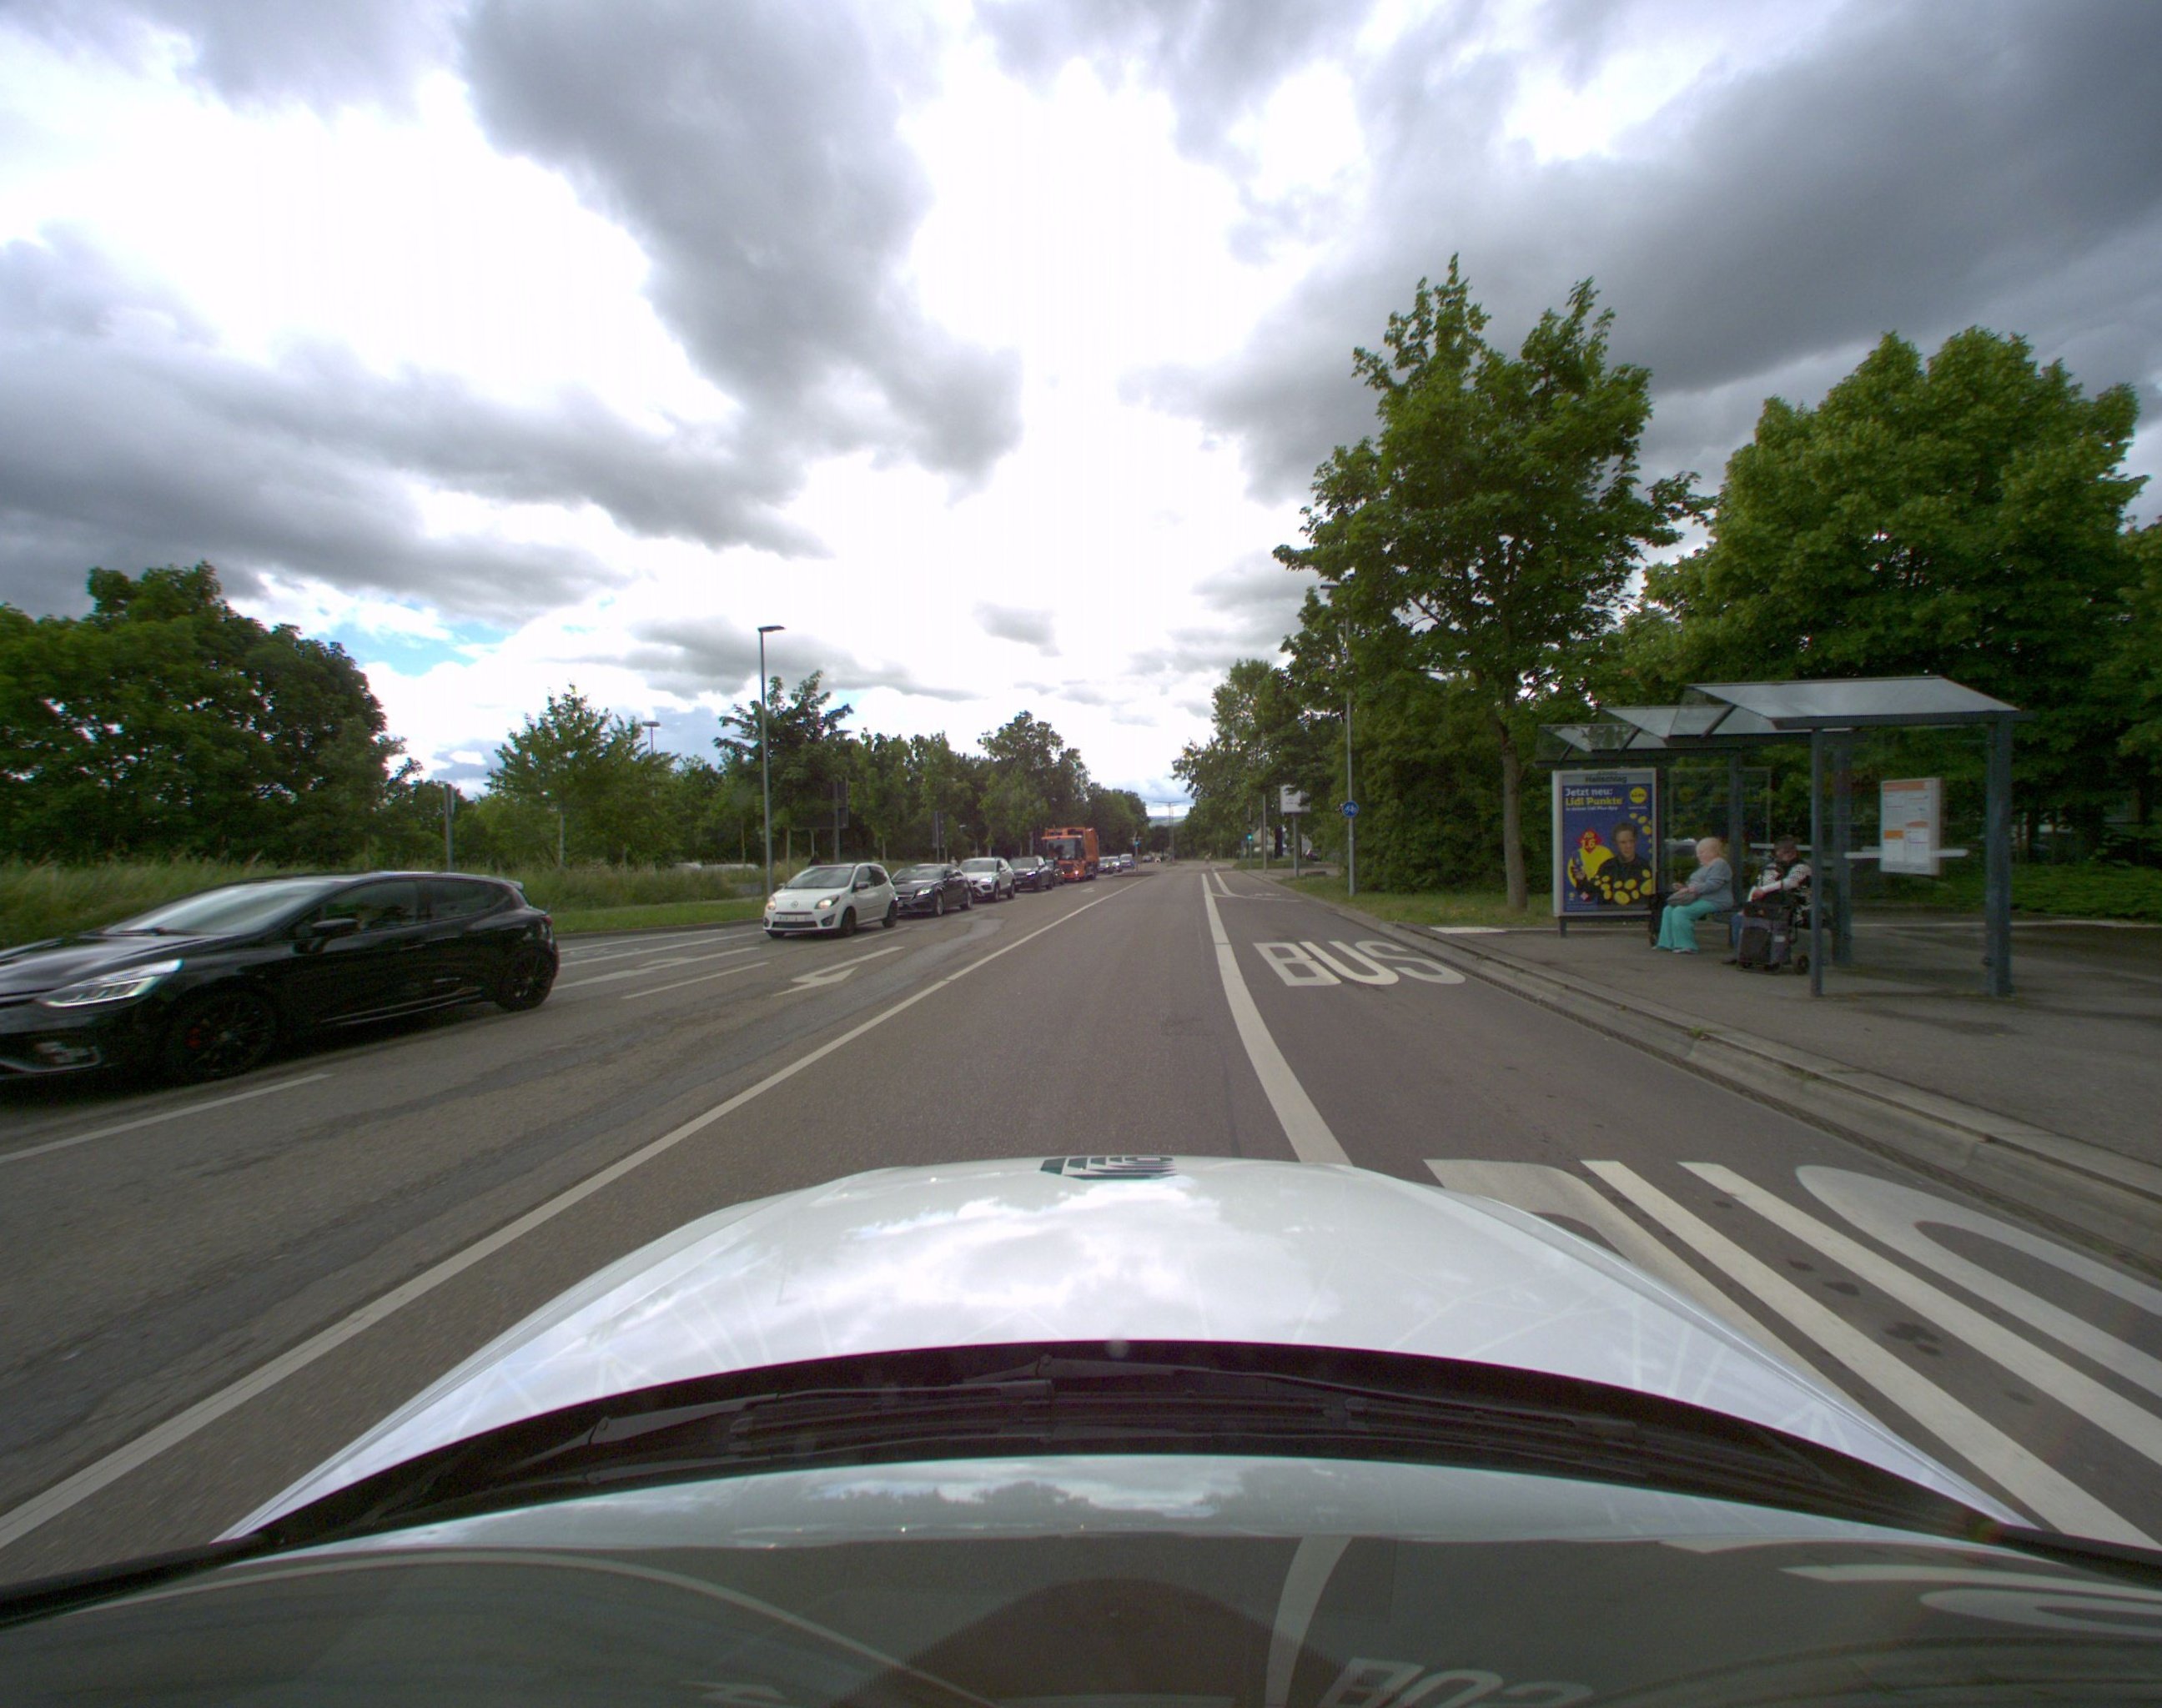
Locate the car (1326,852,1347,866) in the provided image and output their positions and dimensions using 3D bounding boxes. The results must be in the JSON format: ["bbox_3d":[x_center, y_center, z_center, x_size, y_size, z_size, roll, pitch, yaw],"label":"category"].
[{"bbox_3d":[29.791,0.578,94.915,1.701,1.508,4.354,0,0,9],"label":"car"}]

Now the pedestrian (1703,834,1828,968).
[{"bbox_3d":[6.834,0.434,8.141,0.779,1.252,0.764,0,0,-34],"label":"pedestrian"}]

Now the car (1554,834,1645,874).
[{"bbox_3d":[32.113,0.027,50.591,2.003,2.326,4.392,-1,-1,-24],"label":"car"}]

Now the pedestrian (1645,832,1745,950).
[{"bbox_3d":[7.084,0.417,9.421,0.724,1.316,0.590,-1,0,9],"label":"pedestrian"}]

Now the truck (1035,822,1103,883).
[{"bbox_3d":[-0.578,-0.092,52.377,2.690,3.487,10.018,-1,0,8],"label":"truck"}]

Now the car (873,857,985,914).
[{"bbox_3d":[-4.134,0.810,22.996,1.630,1.390,4.895,-1,0,7],"label":"car"}]

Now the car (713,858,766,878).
[{"bbox_3d":[-37.925,1.585,90.441,4.943,2.014,2.003,-2,-1,5],"label":"car"}]

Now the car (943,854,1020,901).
[{"bbox_3d":[-3.540,0.800,29.711,1.721,1.585,4.232,-1,0,7],"label":"car"}]

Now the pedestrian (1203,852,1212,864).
[{"bbox_3d":[15.550,0.444,100.268,0.789,1.463,0.746,-1,-1,-11],"label":"pedestrian"}]

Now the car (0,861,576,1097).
[{"bbox_3d":[-6.500,0.757,6.813,1.630,1.332,4.069,-1,0,7],"label":"car"}]

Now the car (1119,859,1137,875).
[{"bbox_3d":[5.740,1.511,98.663,1.836,1.804,4.659,-3,-1,7],"label":"car"}]

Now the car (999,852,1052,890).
[{"bbox_3d":[-2.476,0.734,37.198,1.630,1.585,4.069,-1,0,7],"label":"car"}]

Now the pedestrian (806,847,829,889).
[{"bbox_3d":[-11.762,0.607,36.314,0.717,1.835,0.679,-1,-1,8],"label":"pedestrian"}]

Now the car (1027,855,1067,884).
[{"bbox_3d":[-1.790,0.818,43.848,1.426,1.457,3.903,-1,0,7],"label":"car"}]

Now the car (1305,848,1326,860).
[{"bbox_3d":[27.372,0.029,95.106,1.701,1.354,4.354,-2,-1,9],"label":"car"}]

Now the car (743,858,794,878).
[{"bbox_3d":[-35.956,1.617,93.735,4.945,2.190,2.002,-2,-1,3],"label":"car"}]

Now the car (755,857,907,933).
[{"bbox_3d":[-5.131,0.787,17.238,1.630,1.390,3.770,-1,0,7],"label":"car"}]

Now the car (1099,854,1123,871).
[{"bbox_3d":[2.935,0.821,77.977,1.836,1.520,4.824,-3,-1,7],"label":"car"}]

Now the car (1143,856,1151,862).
[{"bbox_3d":[16.612,1.225,203.697,1.762,1.305,4.008,-1,-1,7],"label":"car"}]

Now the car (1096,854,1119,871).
[{"bbox_3d":[2.290,0.700,69.876,1.539,1.331,3.661,-3,-1,7],"label":"car"}]
